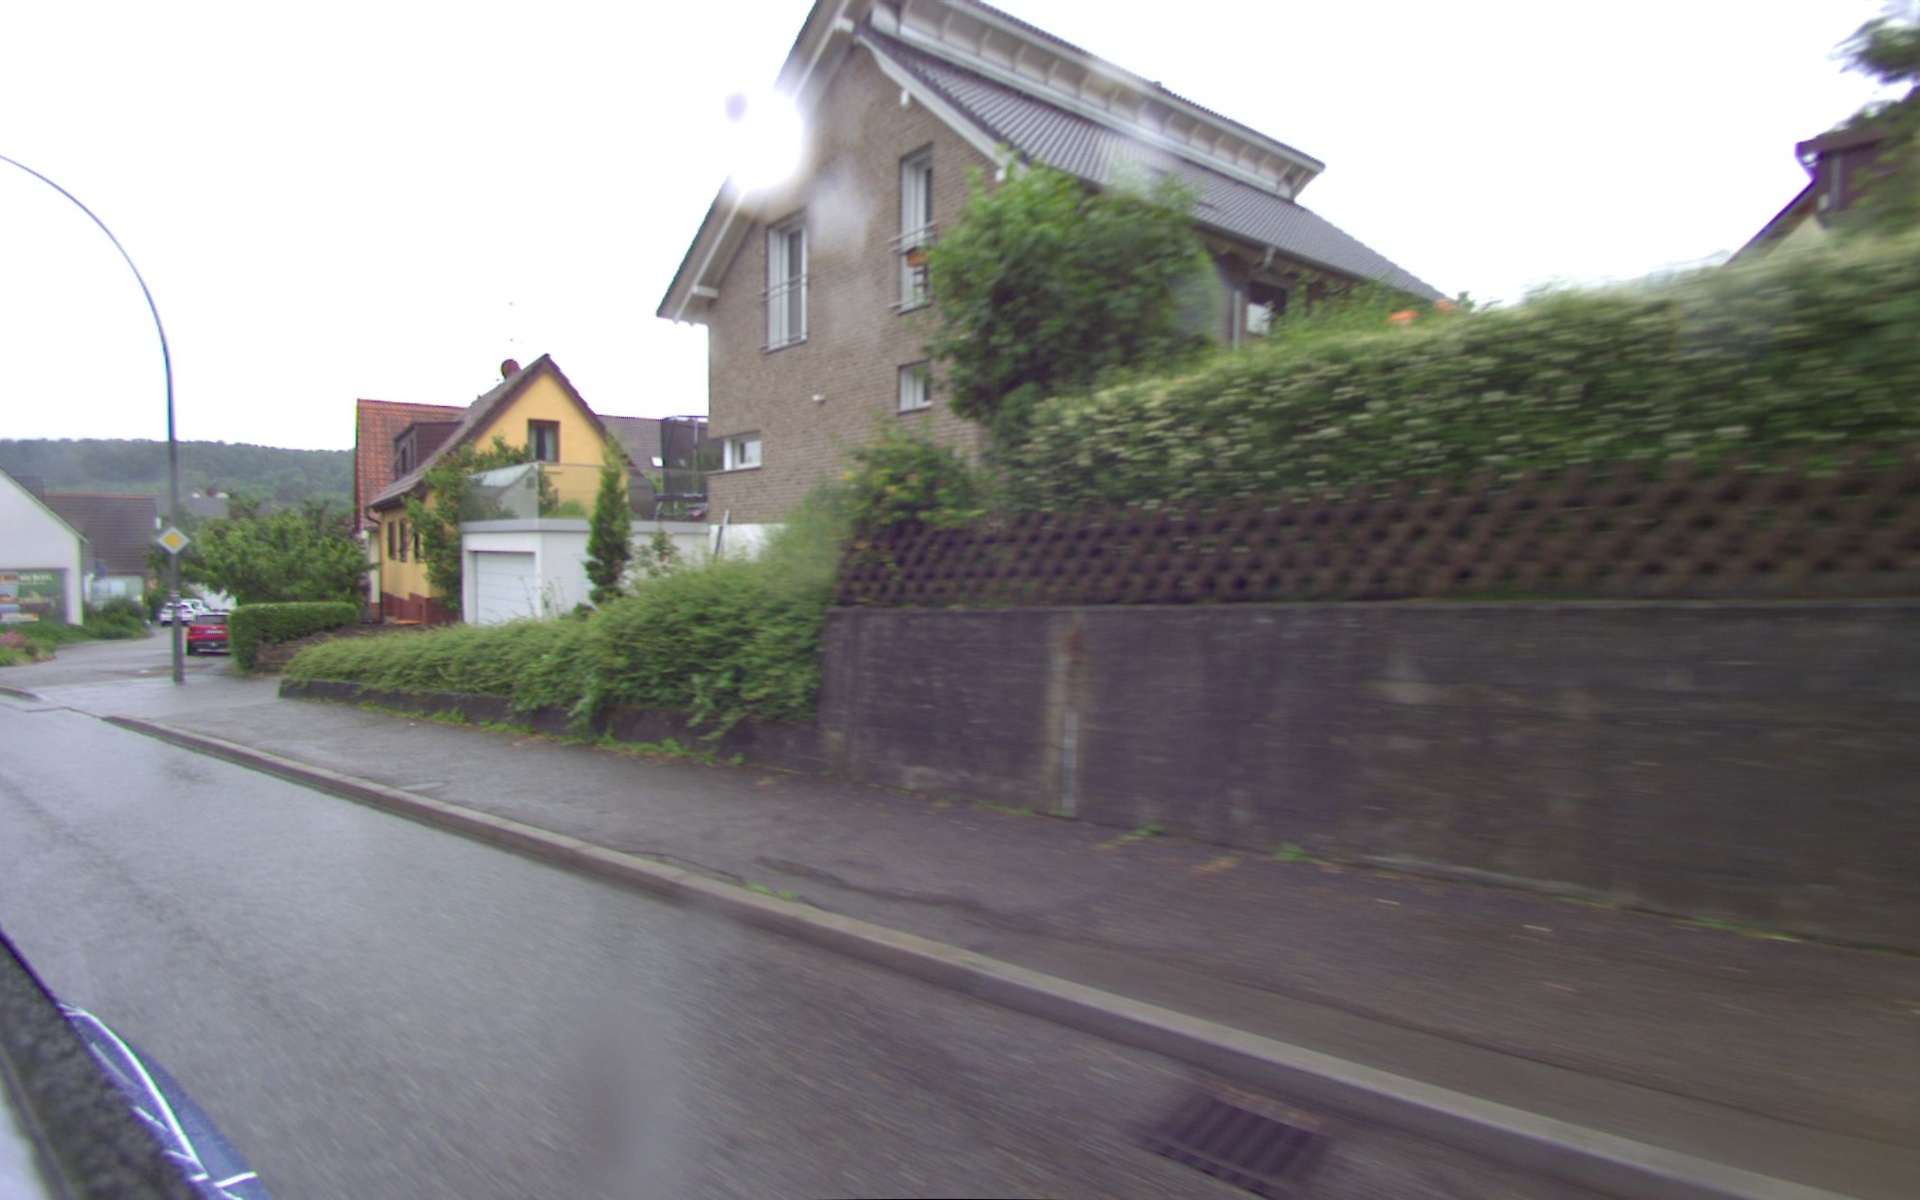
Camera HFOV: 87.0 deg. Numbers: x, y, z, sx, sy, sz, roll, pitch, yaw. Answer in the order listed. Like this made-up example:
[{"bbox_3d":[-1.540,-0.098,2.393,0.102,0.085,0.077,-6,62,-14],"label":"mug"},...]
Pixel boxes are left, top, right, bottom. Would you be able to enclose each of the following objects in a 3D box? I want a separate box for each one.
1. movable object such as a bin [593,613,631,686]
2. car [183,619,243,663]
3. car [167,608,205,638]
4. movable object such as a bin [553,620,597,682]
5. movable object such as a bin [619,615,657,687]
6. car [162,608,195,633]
[{"bbox_3d":[-6.431,0.907,18.689,0.490,1.312,0.557,-1,-1,-38],"label":"movable object such as a bin"},{"bbox_3d":[-28.673,1.545,38.926,1.725,1.574,4.029,-1,-1,-35],"label":"car"},{"bbox_3d":[-52.527,1.548,68.741,1.729,1.903,3.750,0,-1,-33],"label":"car"},{"bbox_3d":[-6.945,0.912,18.229,0.553,1.082,0.713,0,-1,-38],"label":"movable object such as a bin"},{"bbox_3d":[-6.047,0.952,18.995,0.490,1.312,0.557,-1,-1,-38],"label":"movable object such as a bin"},{"bbox_3d":[-49.274,1.292,63.876,1.394,1.439,3.502,-1,1,-34],"label":"car"}]
